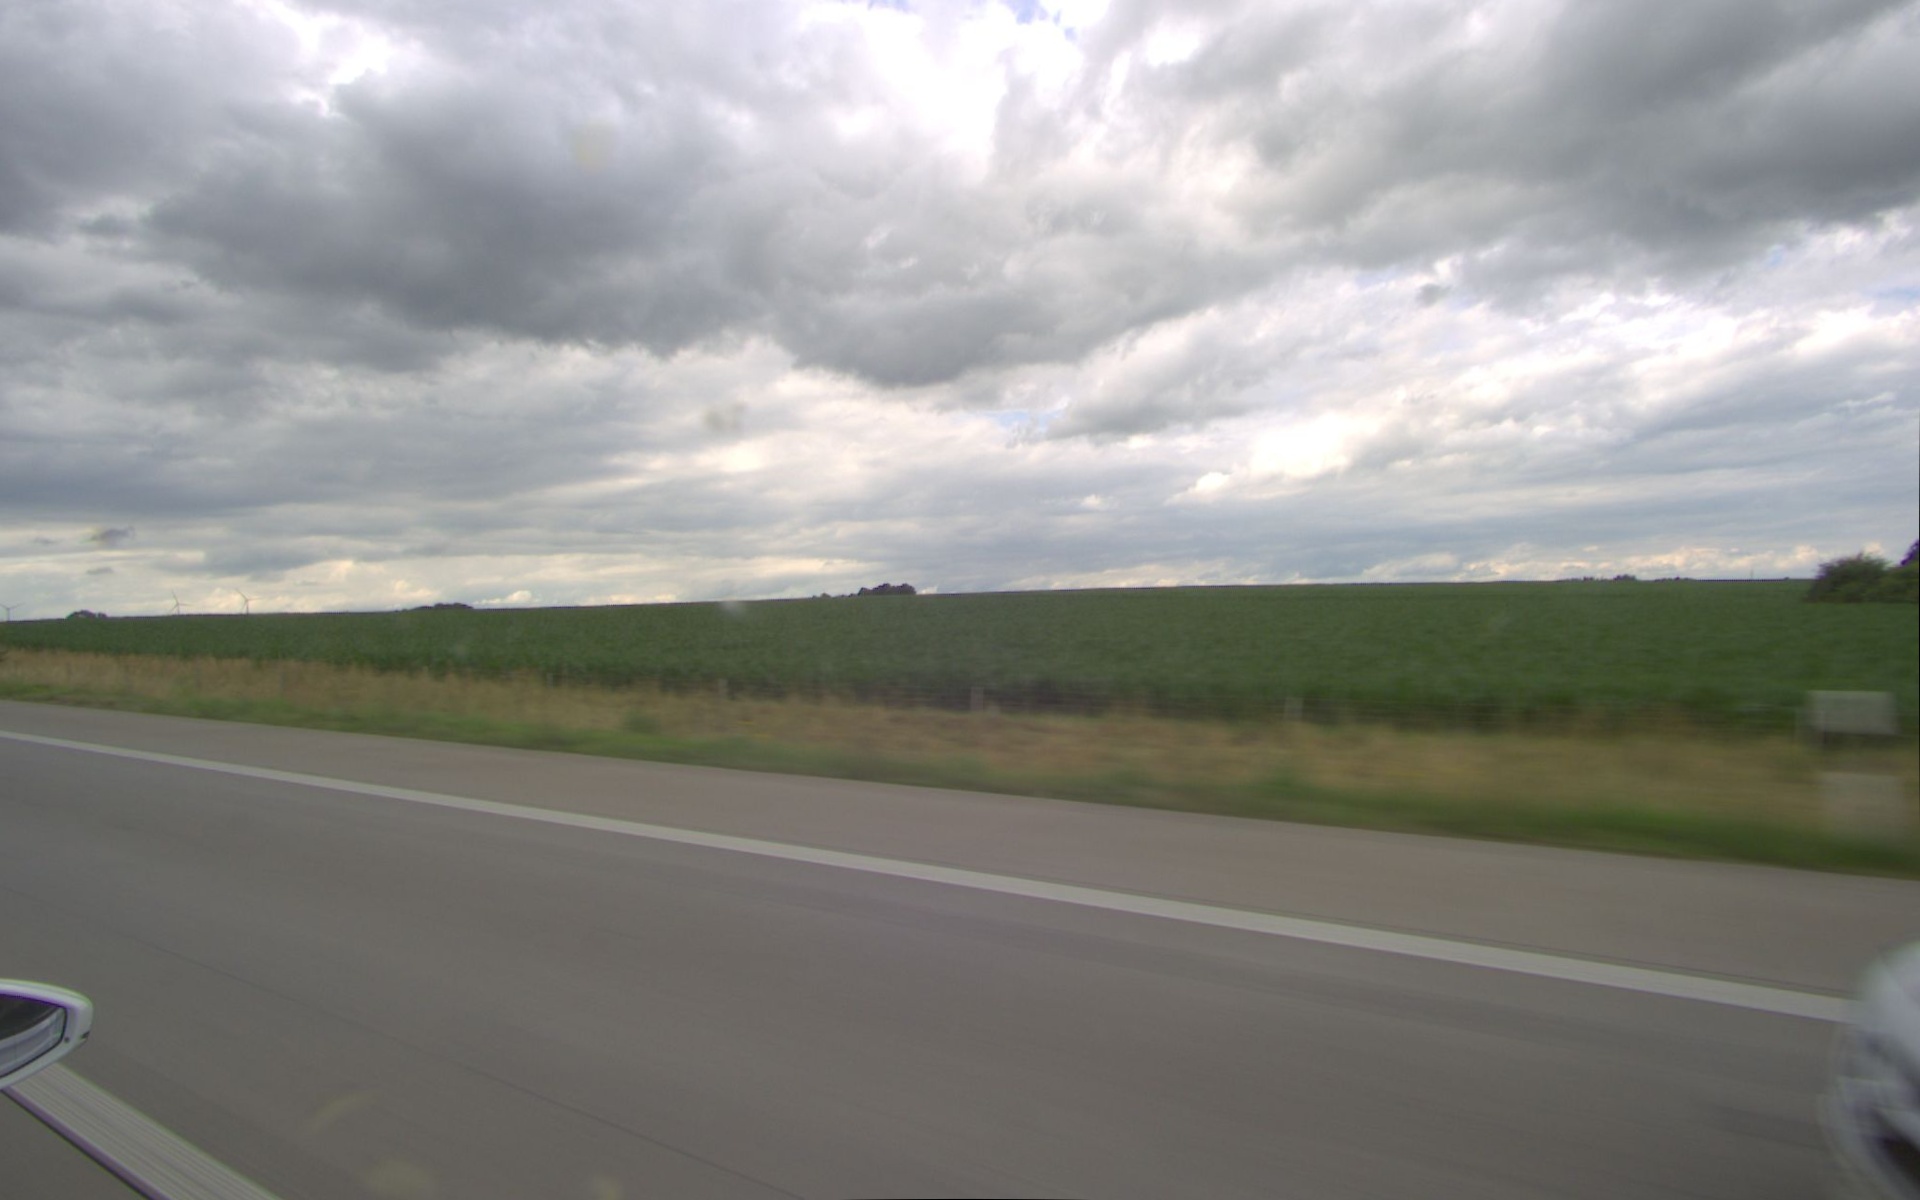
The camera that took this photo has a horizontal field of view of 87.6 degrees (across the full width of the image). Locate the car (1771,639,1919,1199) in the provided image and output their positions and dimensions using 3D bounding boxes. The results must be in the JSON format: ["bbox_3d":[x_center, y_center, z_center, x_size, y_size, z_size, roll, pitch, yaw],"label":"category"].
[{"bbox_3d":[3.490,0.751,0.826,4.161,1.421,1.785,-1,-2,32],"label":"car"}]
